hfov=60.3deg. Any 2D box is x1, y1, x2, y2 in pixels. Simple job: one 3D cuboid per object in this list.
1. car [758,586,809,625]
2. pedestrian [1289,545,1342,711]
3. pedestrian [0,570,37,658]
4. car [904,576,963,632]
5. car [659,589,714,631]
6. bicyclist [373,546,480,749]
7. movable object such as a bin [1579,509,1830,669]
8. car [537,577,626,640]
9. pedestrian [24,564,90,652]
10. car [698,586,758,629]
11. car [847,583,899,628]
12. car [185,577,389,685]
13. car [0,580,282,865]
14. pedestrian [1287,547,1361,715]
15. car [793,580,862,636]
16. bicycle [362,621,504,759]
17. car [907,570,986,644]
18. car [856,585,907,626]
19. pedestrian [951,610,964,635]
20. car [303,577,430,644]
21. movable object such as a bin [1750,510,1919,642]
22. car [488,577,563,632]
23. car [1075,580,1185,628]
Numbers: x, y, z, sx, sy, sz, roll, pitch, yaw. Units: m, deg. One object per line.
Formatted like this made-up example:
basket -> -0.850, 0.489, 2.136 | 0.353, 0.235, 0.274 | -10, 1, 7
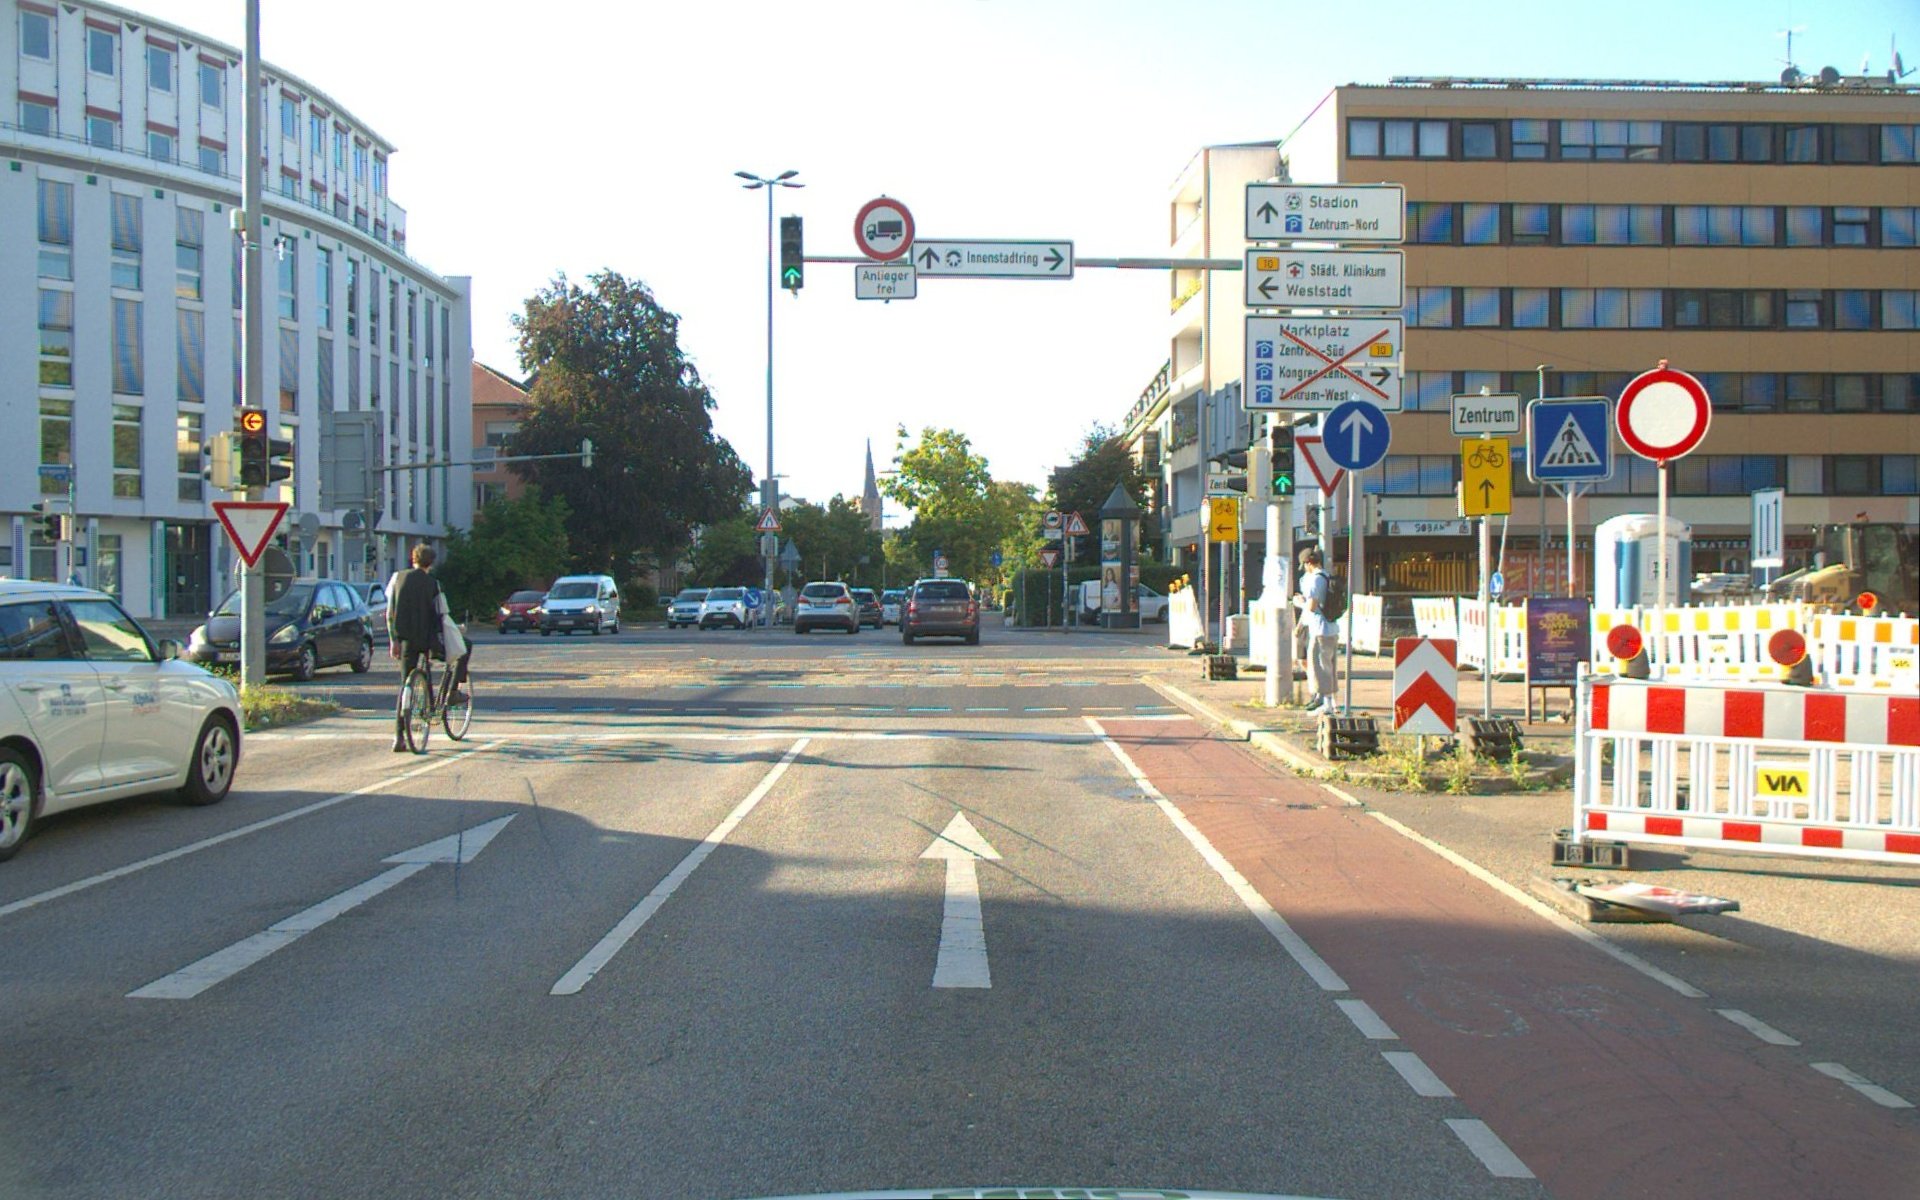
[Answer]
car -> -7.026, 0.200, 66.139 | 1.811, 1.487, 4.047 | 0, 0, -3
pedestrian -> 4.142, 0.320, 19.293 | 0.510, 1.901, 0.615 | 0, 0, 3
pedestrian -> -20.831, 0.308, 36.291 | 0.646, 1.901, 0.778 | 0, 0, 22
car -> -0.845, 0.099, 51.718 | 1.782, 1.668, 3.999 | -1, 0, -2
car -> -11.601, 0.402, 70.398 | 1.843, 1.683, 4.047 | 0, 0, -3
bicyclist -> -4.781, 0.409, 14.870 | 0.677, 1.758, 0.987 | 0, 0, -4
movable object such as a bin -> 11.703, -0.174, 26.122 | 3.261, 2.424, 1.528 | 0, 0, -2
car -> -11.577, 0.229, 50.887 | 1.877, 1.843, 4.714 | 0, 0, -3
pedestrian -> -19.776, 0.174, 36.241 | 0.614, 1.901, 1.126 | 0, 0, 27
car -> -8.367, 0.238, 59.947 | 1.811, 1.487, 4.047 | 0, 0, -3
car -> -3.202, 0.176, 61.767 | 1.712, 1.591, 4.050 | 0, 0, 0
car -> -10.262, 0.423, 25.531 | 1.624, 1.520, 3.999 | 0, 0, -2
car -> -5.795, 0.619, 10.088 | 1.650, 1.482, 4.000 | 0, 1, 0
pedestrian -> 4.067, 0.335, 18.466 | 0.725, 1.831, 0.715 | 0, 0, 18
car -> -3.897, 0.216, 49.101 | 1.712, 1.591, 4.050 | 0, 0, 0
bicycle -> -4.779, 0.778, 15.153 | 0.686, 1.119, 2.256 | 0, 0, -3
car -> -0.300, 0.140, 38.042 | 1.712, 1.591, 4.050 | 0, 0, 0
car -> -3.212, 0.233, 68.449 | 1.953, 1.534, 3.998 | -2, -2, -2
pedestrian -> -0.184, 1.503, 109.930 | 0.845, 1.636, 0.705 | 0, 0, -2
car -> -14.376, 0.221, 40.292 | 1.624, 1.520, 4.345 | 0, 0, -2
movable object such as a bin -> 19.177, -0.487, 33.419 | 5.243, 2.534, 2.547 | 0, 0, -3
car -> -14.930, 0.134, 57.032 | 1.713, 1.843, 4.047 | 0, 0, -3
car -> 6.958, 0.161, 68.170 | 4.276, 1.910, 1.999 | 0, 0, -2
